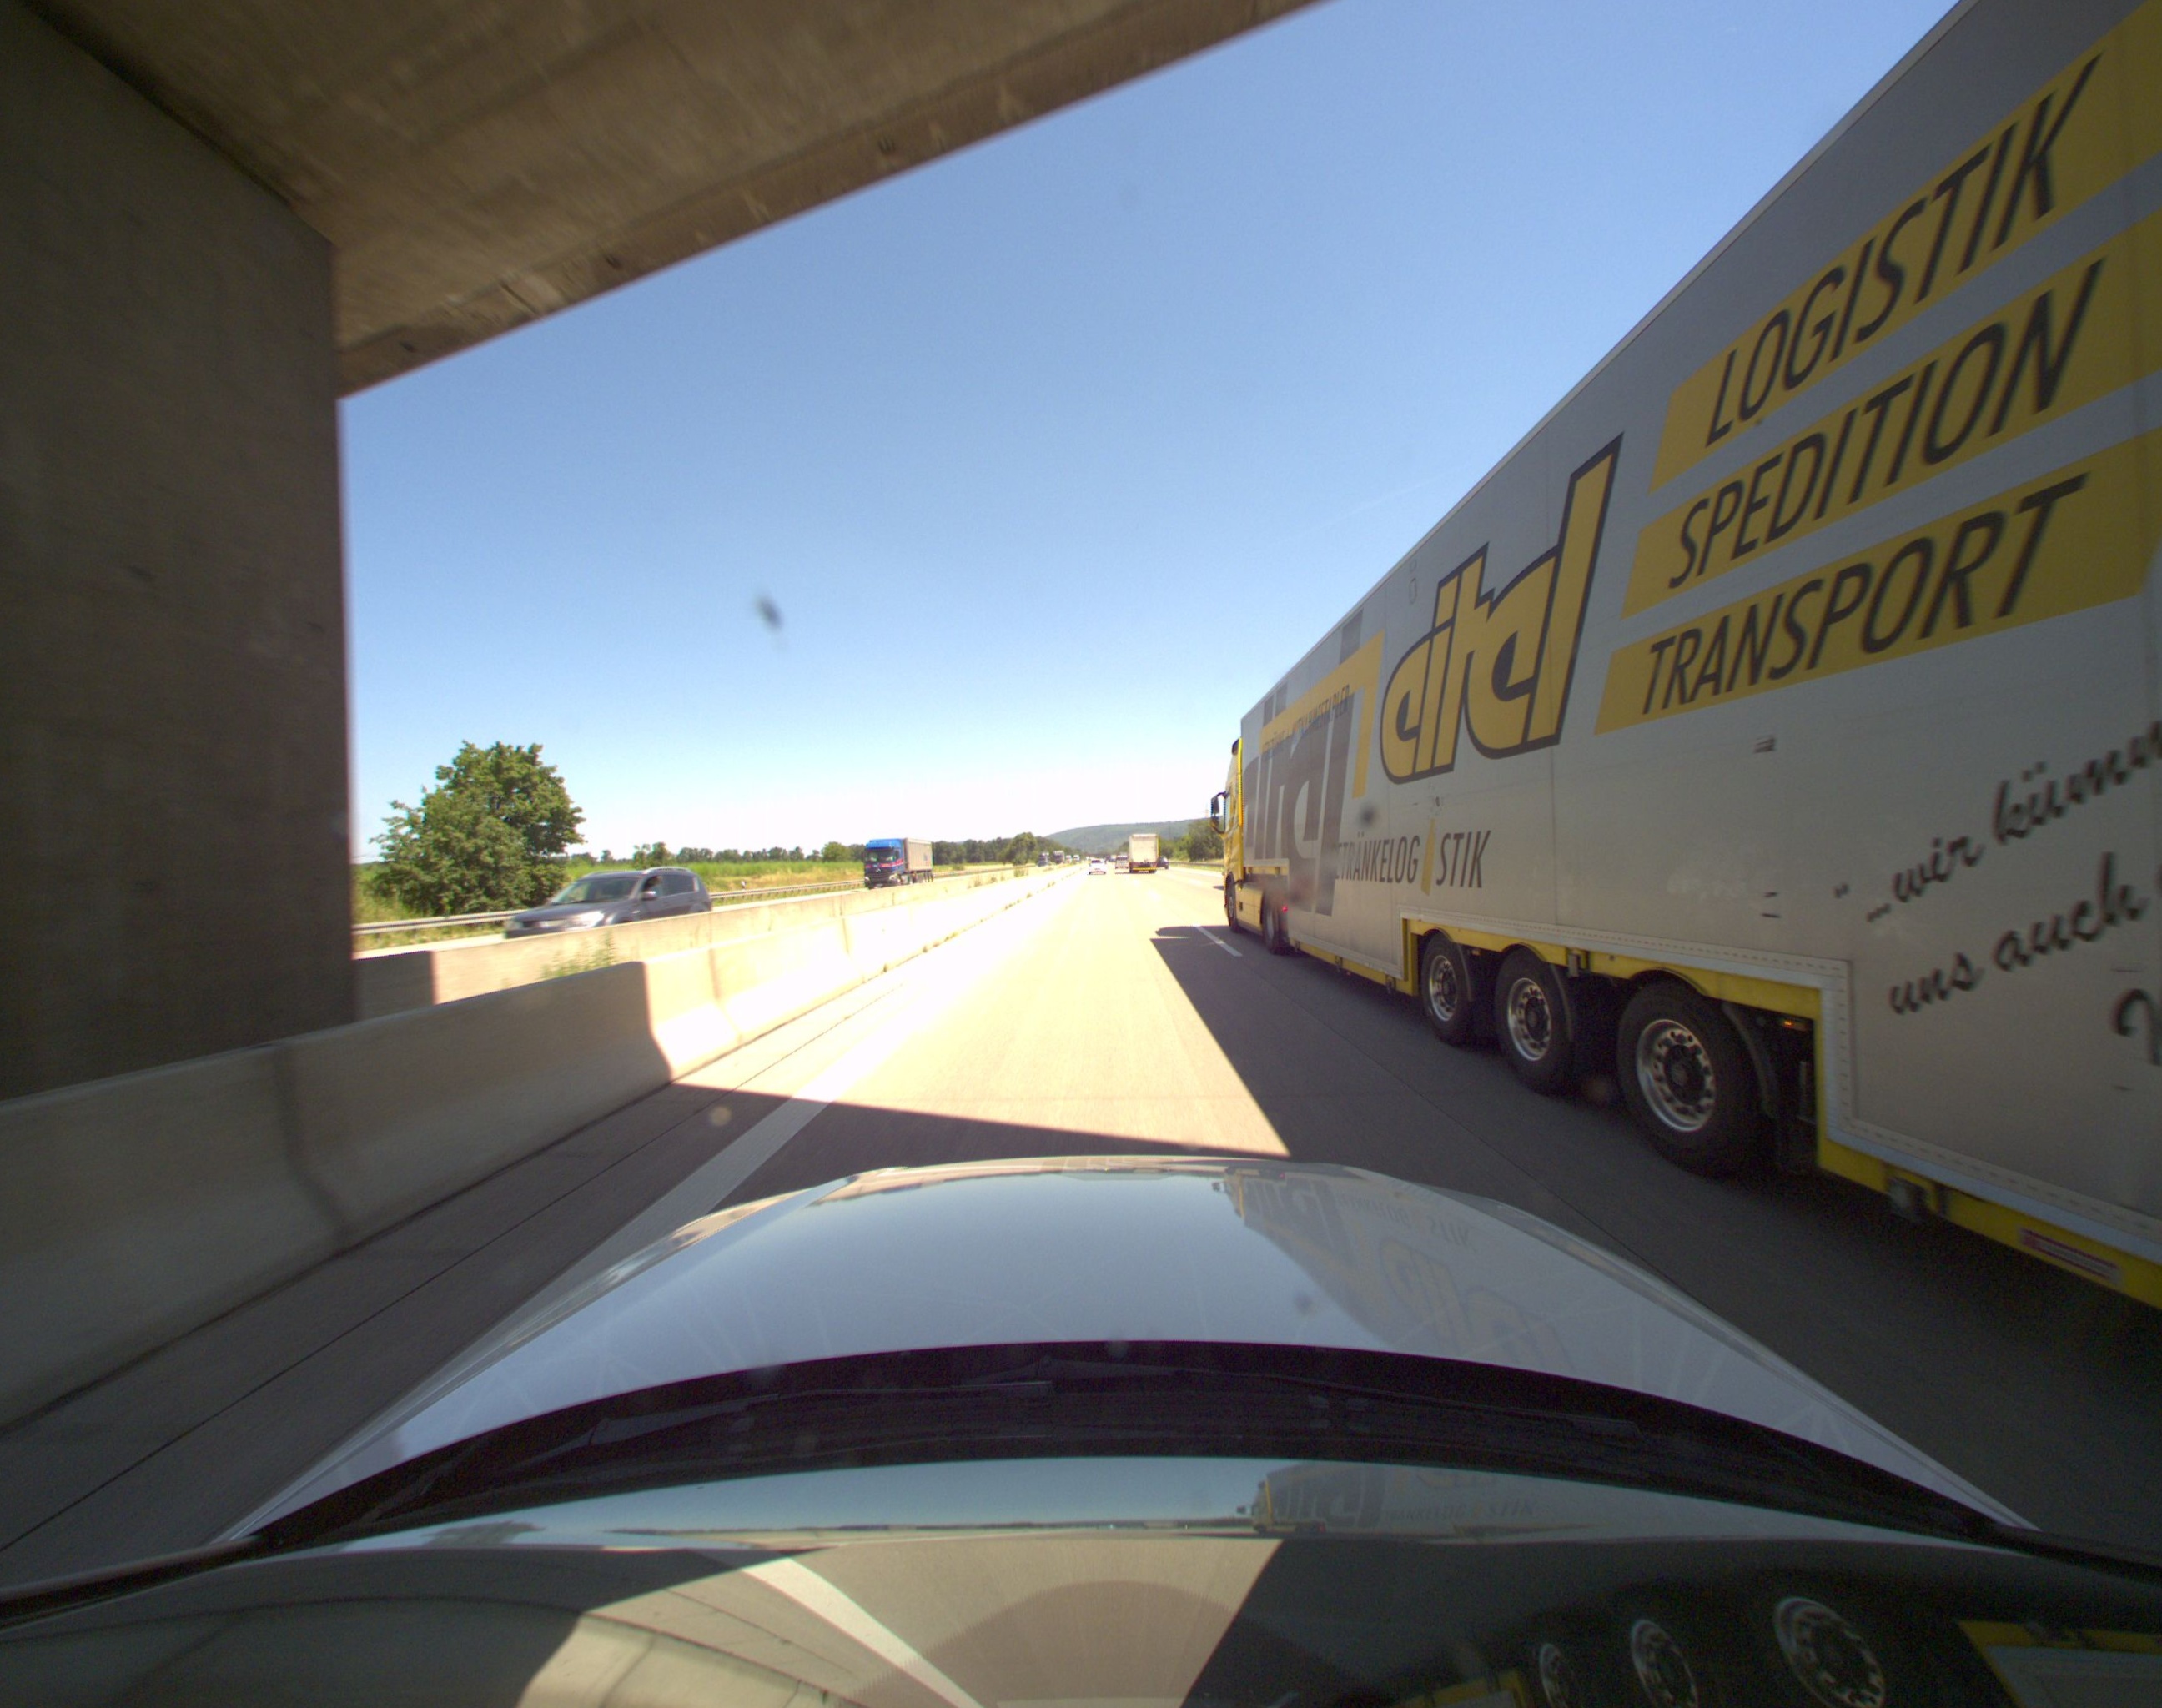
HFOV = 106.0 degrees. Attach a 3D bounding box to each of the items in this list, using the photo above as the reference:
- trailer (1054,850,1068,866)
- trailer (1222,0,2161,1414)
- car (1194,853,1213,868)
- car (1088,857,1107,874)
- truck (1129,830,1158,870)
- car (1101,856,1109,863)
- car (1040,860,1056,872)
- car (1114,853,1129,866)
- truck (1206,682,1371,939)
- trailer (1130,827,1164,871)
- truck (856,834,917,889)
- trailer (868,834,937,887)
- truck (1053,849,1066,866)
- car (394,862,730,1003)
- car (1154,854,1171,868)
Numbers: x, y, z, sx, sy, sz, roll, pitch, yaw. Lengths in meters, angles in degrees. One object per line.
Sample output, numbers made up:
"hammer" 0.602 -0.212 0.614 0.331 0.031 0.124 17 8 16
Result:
"trailer" -5.926 1.107 241.796 3.256 4.475 14.454 -3 0 1
"trailer" 3.720 -0.731 8.765 1.986 4.254 15.201 0 0 1
"car" 16.338 0.863 108.531 1.986 1.849 4.000 1 0 1
"car" 1.638 1.133 80.777 1.813 1.662 4.000 -1 0 0
"truck" 6.345 -0.387 83.341 2.572 3.878 4.984 0 0 1
"car" 6.743 1.553 228.220 1.986 1.849 4.000 1 0 1
"car" -4.993 1.815 123.518 1.986 1.862 5.468 0 0 1
"car" 5.873 0.824 118.707 1.986 1.849 4.000 0 0 1
"truck" 3.833 -0.716 16.106 1.986 4.254 5.195 0 -1 1
"trailer" 6.230 -0.408 78.041 2.572 3.878 10.373 0 0 1
"truck" -15.370 0.581 64.784 2.970 4.090 6.467 -2 -1 1
"trailer" -15.207 0.581 70.408 2.970 4.090 11.608 -2 0 1
"truck" -6.097 1.027 234.589 3.256 4.476 7.191 -3 -1 1
"car" -8.808 1.177 14.716 2.297 2.014 5.657 0 0 2
"car" 10.963 0.897 109.483 1.986 1.849 4.000 1 0 1
